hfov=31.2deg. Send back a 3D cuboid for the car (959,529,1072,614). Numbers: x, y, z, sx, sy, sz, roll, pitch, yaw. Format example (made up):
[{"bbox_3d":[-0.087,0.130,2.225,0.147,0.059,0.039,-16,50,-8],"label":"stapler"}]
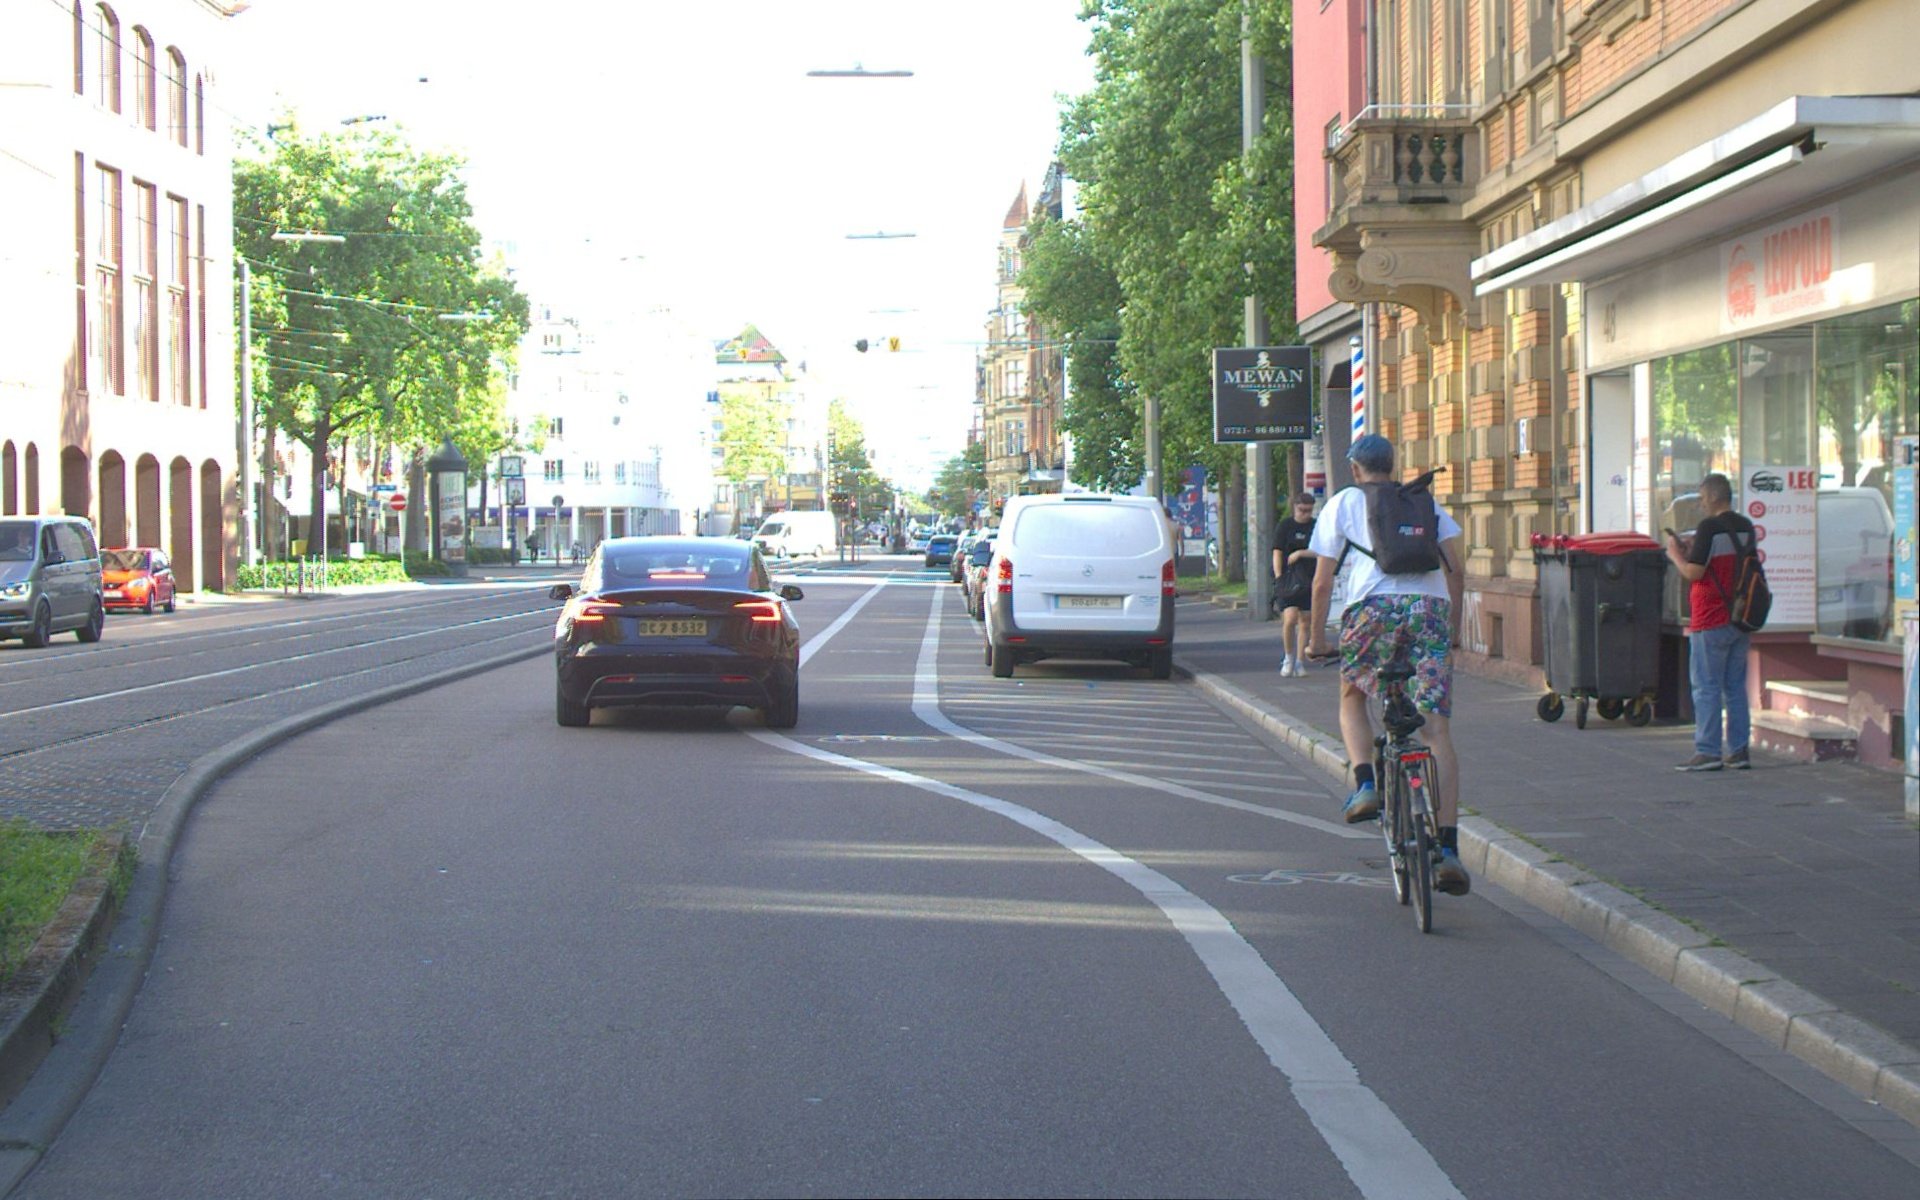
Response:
[{"bbox_3d":[0.978,-0.534,62.523,1.802,1.430,4.324,2,1,-2],"label":"car"}]

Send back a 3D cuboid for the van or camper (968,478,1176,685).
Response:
[{"bbox_3d":[1.125,-0.213,37.124,1.931,2.030,5.476,1,0,-1],"label":"van or camper"}]

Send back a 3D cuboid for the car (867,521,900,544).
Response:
[{"bbox_3d":[-5.211,-4.564,232.977,1.993,1.520,4.001,0,1,-4],"label":"car"}]

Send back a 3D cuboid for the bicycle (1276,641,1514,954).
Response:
[{"bbox_3d":[1.768,0.773,14.267,0.647,1.135,2.096,1,1,-2],"label":"bicycle"}]

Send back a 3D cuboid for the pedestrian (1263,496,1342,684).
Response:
[{"bbox_3d":[3.325,-0.098,33.442,0.672,1.808,0.756,0,1,-1],"label":"pedestrian"}]

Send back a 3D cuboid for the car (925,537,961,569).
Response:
[{"bbox_3d":[-0.768,-2.163,158.578,1.593,1.428,3.686,-1,1,0],"label":"car"}]

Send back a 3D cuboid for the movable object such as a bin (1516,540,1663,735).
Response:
[{"bbox_3d":[4.464,0.249,24.452,0.775,1.343,1.299,0,1,-2],"label":"movable object such as a bin"}]

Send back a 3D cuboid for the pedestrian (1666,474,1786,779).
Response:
[{"bbox_3d":[4.416,0.141,19.808,0.470,1.722,0.586,0,2,36],"label":"pedestrian"}]

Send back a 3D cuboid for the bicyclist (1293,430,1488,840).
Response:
[{"bbox_3d":[1.777,0.134,14.294,0.655,1.650,0.927,0,1,-2],"label":"bicyclist"}]

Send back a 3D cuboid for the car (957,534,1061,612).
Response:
[{"bbox_3d":[0.982,-0.554,67.153,1.750,1.438,4.314,1,1,4],"label":"car"}]

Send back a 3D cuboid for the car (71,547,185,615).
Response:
[{"bbox_3d":[-18.373,-0.431,76.013,1.659,1.417,3.620,1,1,-1],"label":"car"}]

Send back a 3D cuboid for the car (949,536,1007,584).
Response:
[{"bbox_3d":[0.552,-1.262,108.170,1.710,1.452,4.551,1,1,-1],"label":"car"}]

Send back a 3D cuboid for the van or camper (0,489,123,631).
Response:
[{"bbox_3d":[-13.787,-0.562,49.611,1.994,1.933,4.834,-3,1,2],"label":"van or camper"}]

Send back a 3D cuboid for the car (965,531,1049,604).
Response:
[{"bbox_3d":[1.057,-0.765,79.146,1.713,1.585,4.066,1,1,-2],"label":"car"}]

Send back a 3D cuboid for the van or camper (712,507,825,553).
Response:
[{"bbox_3d":[-11.242,-4.140,202.233,6.862,2.645,2.145,-2,1,-44],"label":"van or camper"}]

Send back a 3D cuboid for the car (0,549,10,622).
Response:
[{"bbox_3d":[-18.429,-0.250,60.893,1.960,1.320,4.821,1,1,-2],"label":"car"}]

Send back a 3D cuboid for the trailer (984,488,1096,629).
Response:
[{"bbox_3d":[1.252,-0.666,54.530,1.661,2.109,3.842,1,1,1],"label":"trailer"}]

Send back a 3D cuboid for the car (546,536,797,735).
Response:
[{"bbox_3d":[-2.189,0.224,26.871,1.719,1.400,3.710,1,1,-1],"label":"car"}]

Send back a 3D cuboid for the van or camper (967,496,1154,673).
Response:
[{"bbox_3d":[1.194,-0.235,43.222,1.970,2.038,5.332,1,1,-2],"label":"van or camper"}]
